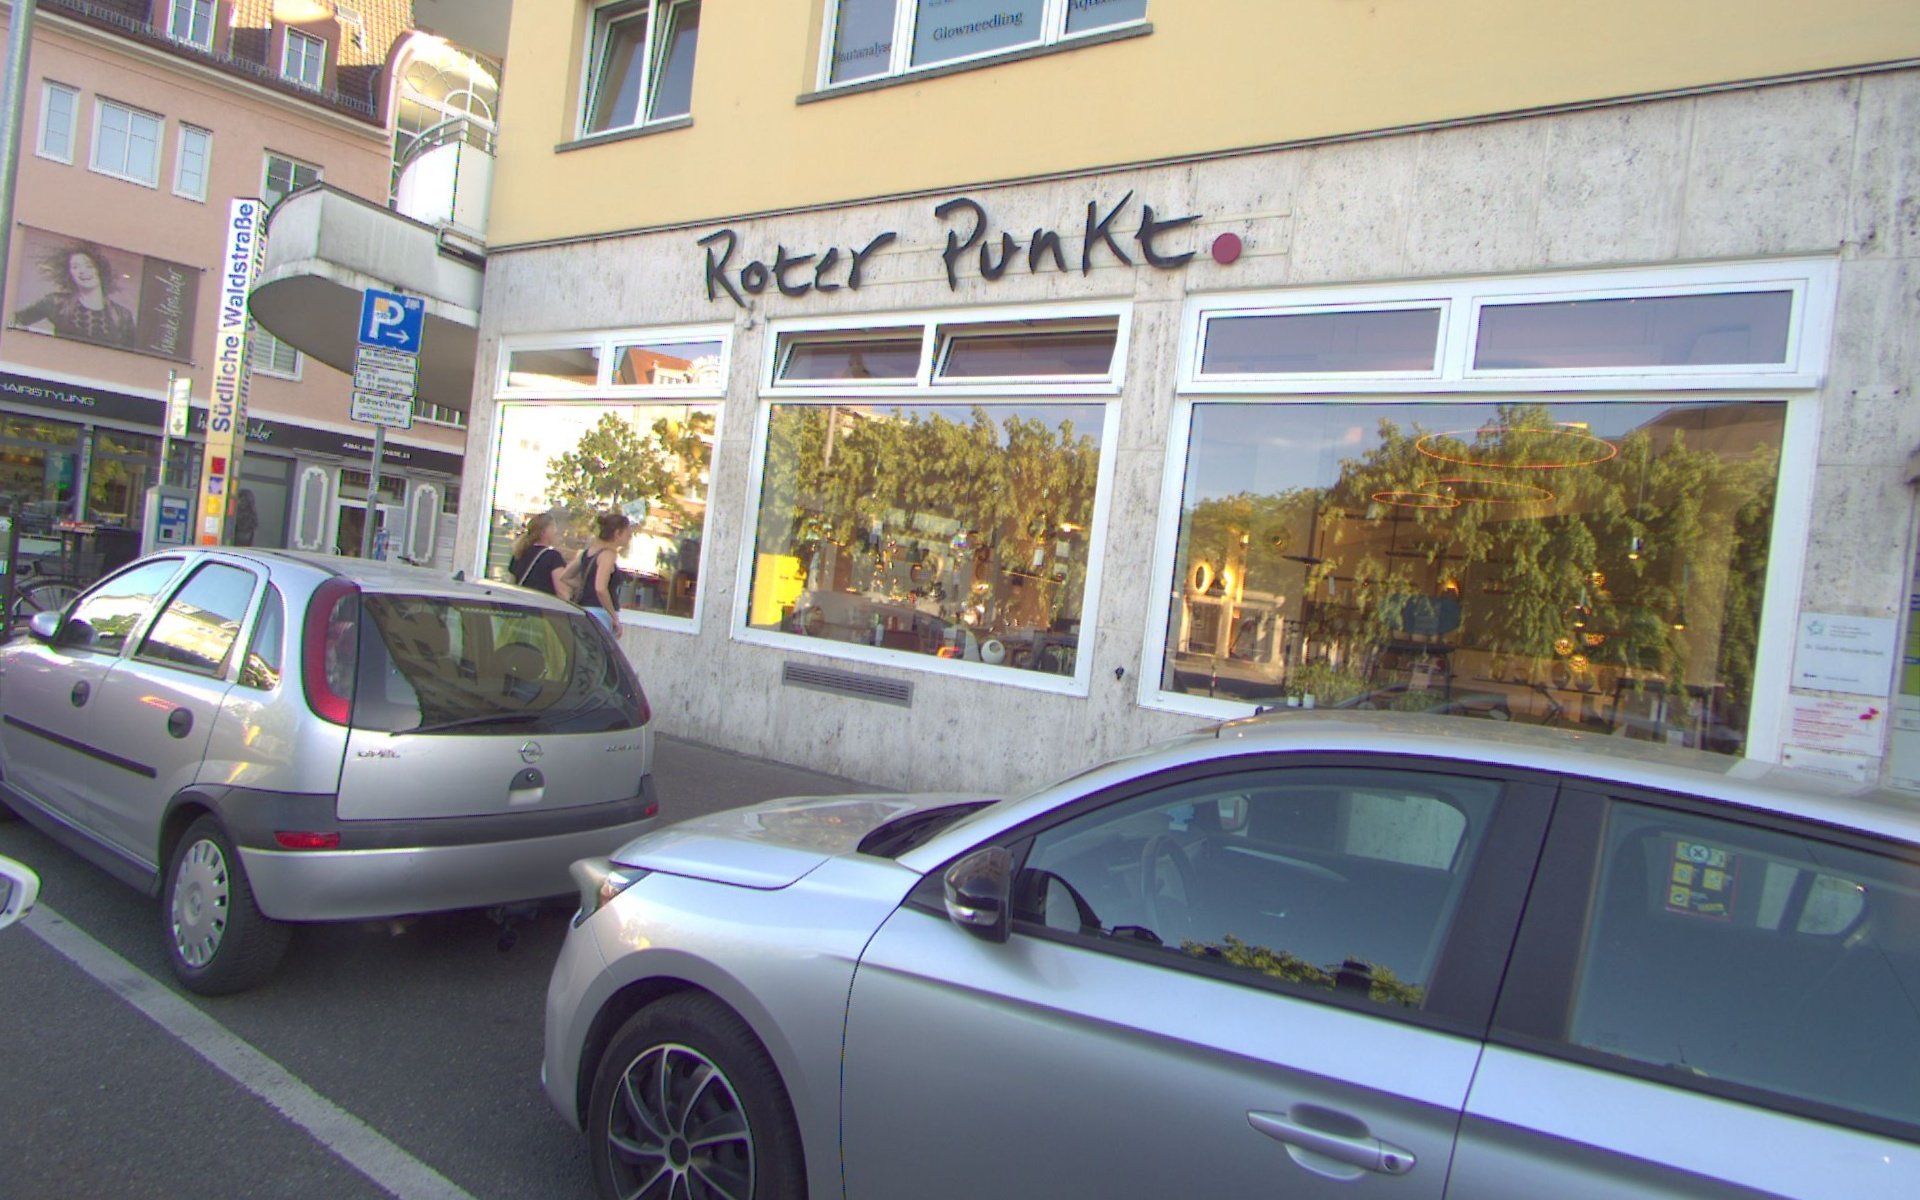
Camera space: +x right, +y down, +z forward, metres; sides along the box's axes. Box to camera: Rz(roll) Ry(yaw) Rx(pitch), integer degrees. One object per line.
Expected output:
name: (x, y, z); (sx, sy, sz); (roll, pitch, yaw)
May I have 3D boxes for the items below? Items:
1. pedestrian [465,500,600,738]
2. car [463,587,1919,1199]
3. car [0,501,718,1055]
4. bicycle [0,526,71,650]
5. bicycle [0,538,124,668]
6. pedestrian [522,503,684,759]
pedestrian: (-3.481, 0.157, 8.249); (0.731, 1.805, 0.566); (7, 0, -13)
car: (0.763, 0.923, 2.276); (3.598, 1.444, 1.550); (6, -1, 30)
car: (-2.925, 0.474, 4.438); (3.419, 1.407, 1.548); (8, 0, 33)
bicycle: (-9.096, -0.148, 8.811); (0.408, 1.101, 1.872); (6, 1, 35)
bicycle: (-8.077, 0.003, 8.191); (0.348, 1.051, 1.871); (6, 1, 38)
pedestrian: (-2.518, 0.219, 7.120); (0.648, 1.685, 0.646); (7, 0, 33)
